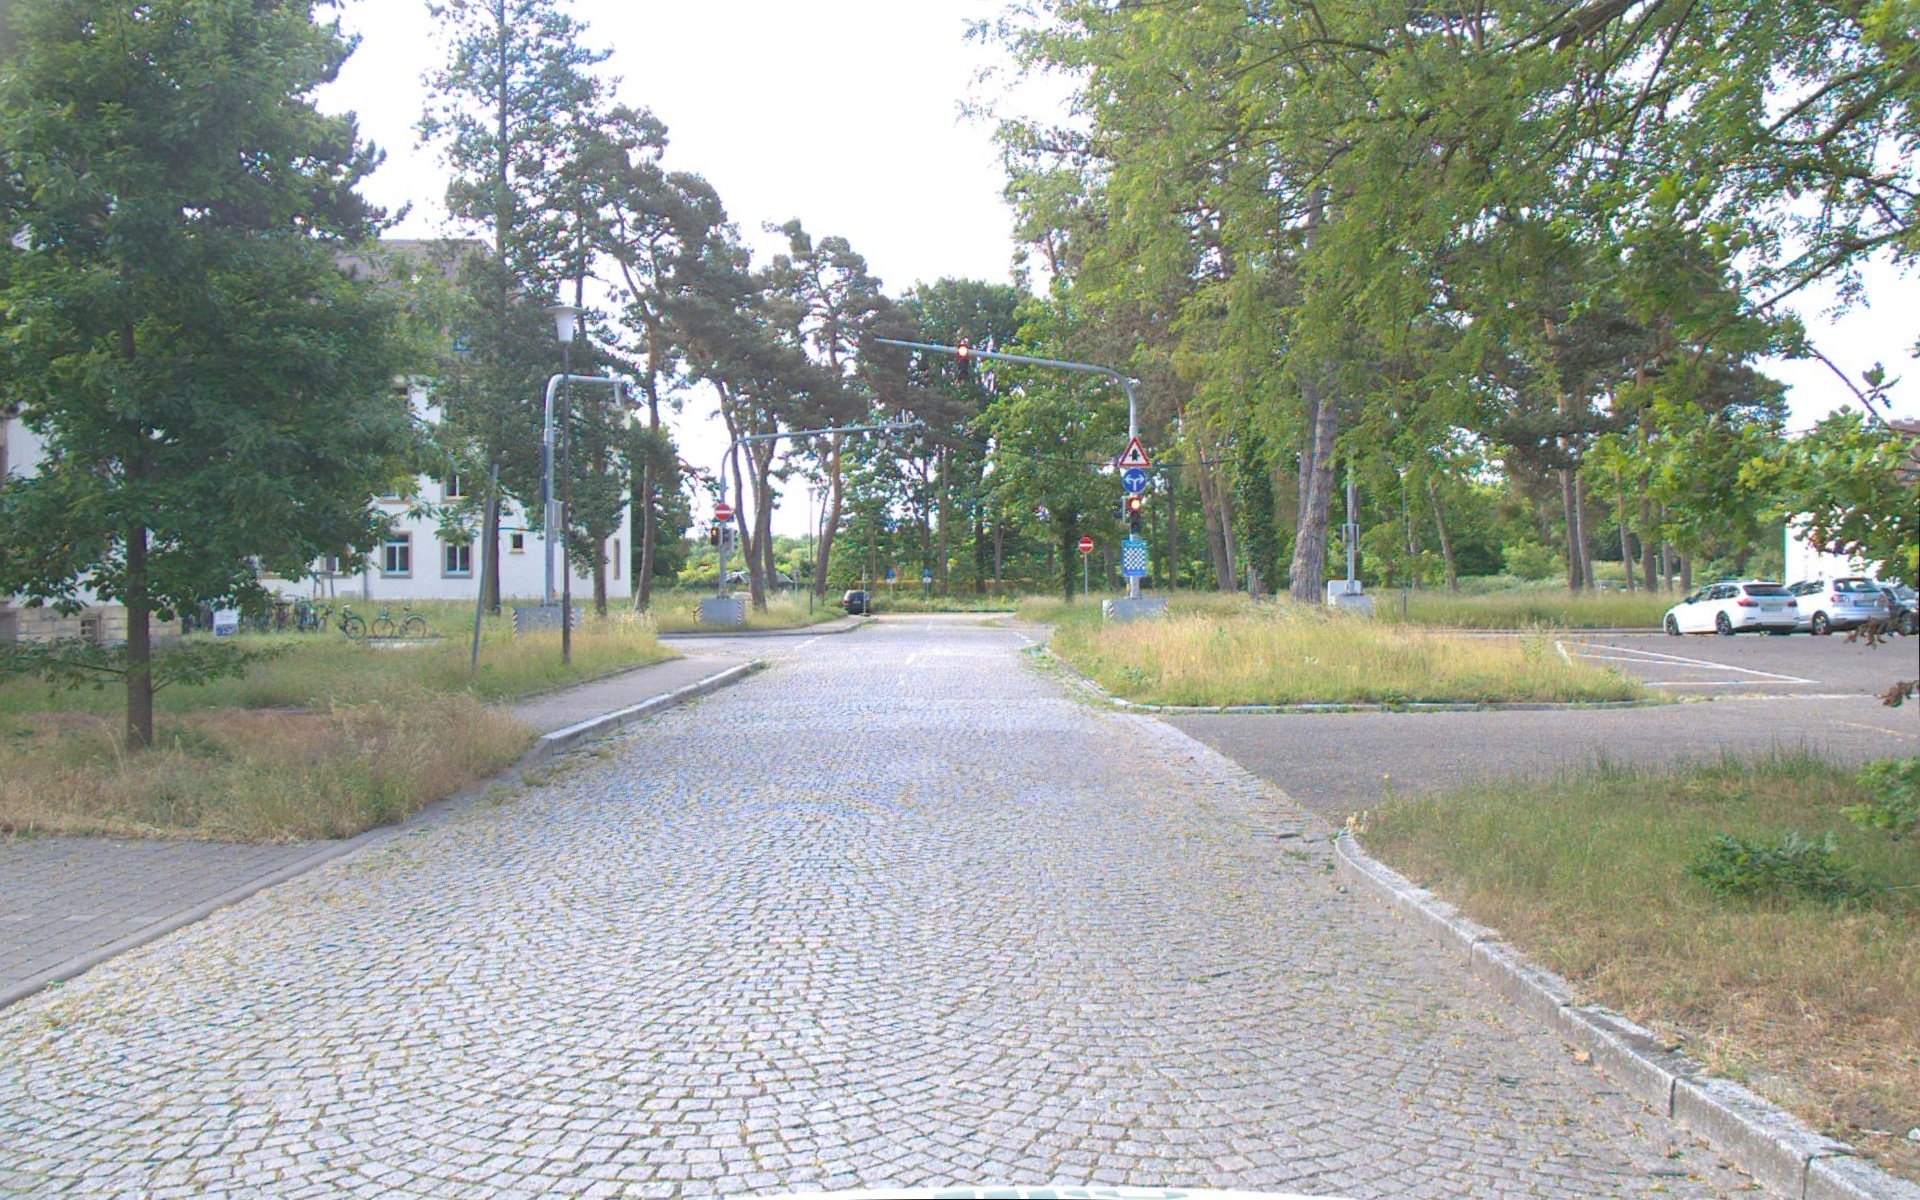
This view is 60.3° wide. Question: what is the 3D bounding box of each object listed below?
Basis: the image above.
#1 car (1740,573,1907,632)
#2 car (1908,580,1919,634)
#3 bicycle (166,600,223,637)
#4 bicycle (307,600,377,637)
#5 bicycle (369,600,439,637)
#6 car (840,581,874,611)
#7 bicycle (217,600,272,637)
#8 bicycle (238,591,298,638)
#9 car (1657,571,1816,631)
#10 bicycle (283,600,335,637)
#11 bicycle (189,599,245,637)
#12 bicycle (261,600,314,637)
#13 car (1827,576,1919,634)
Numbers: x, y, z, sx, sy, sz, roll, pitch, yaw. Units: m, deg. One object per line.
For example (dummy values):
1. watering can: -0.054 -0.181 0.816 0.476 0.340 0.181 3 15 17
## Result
1. car: 23.211 0.107 44.641 1.954 1.507 4.421 -1 -1 -4
2. car: 28.434 0.180 45.492 1.954 1.550 4.421 1 -1 -4
3. bicycle: -23.636 0.545 51.116 0.721 1.095 2.273 -1 0 0
4. bicycle: -18.664 0.549 49.978 1.818 1.095 0.738 -1 0 1
5. bicycle: -16.813 0.547 50.045 1.818 1.095 0.831 -1 0 1
6. car: -6.669 -0.257 107.533 2.014 1.878 3.999 -1 0 -2
7. bicycle: -22.288 0.562 51.558 0.721 1.095 2.273 -1 0 0
8. bicycle: -21.502 0.424 51.460 0.721 1.410 2.711 -1 0 0
9. car: 20.746 0.064 44.423 1.954 1.507 4.421 -1 -1 -4
10. bicycle: -20.138 0.561 51.207 0.721 1.095 2.273 -1 0 0
11. bicycle: -22.916 0.544 51.055 0.721 1.095 2.273 -1 0 0
12. bicycle: -20.767 0.572 51.117 0.721 1.095 2.273 -1 0 0
13. car: 25.823 0.154 44.974 1.954 1.507 4.421 -1 -1 -4
